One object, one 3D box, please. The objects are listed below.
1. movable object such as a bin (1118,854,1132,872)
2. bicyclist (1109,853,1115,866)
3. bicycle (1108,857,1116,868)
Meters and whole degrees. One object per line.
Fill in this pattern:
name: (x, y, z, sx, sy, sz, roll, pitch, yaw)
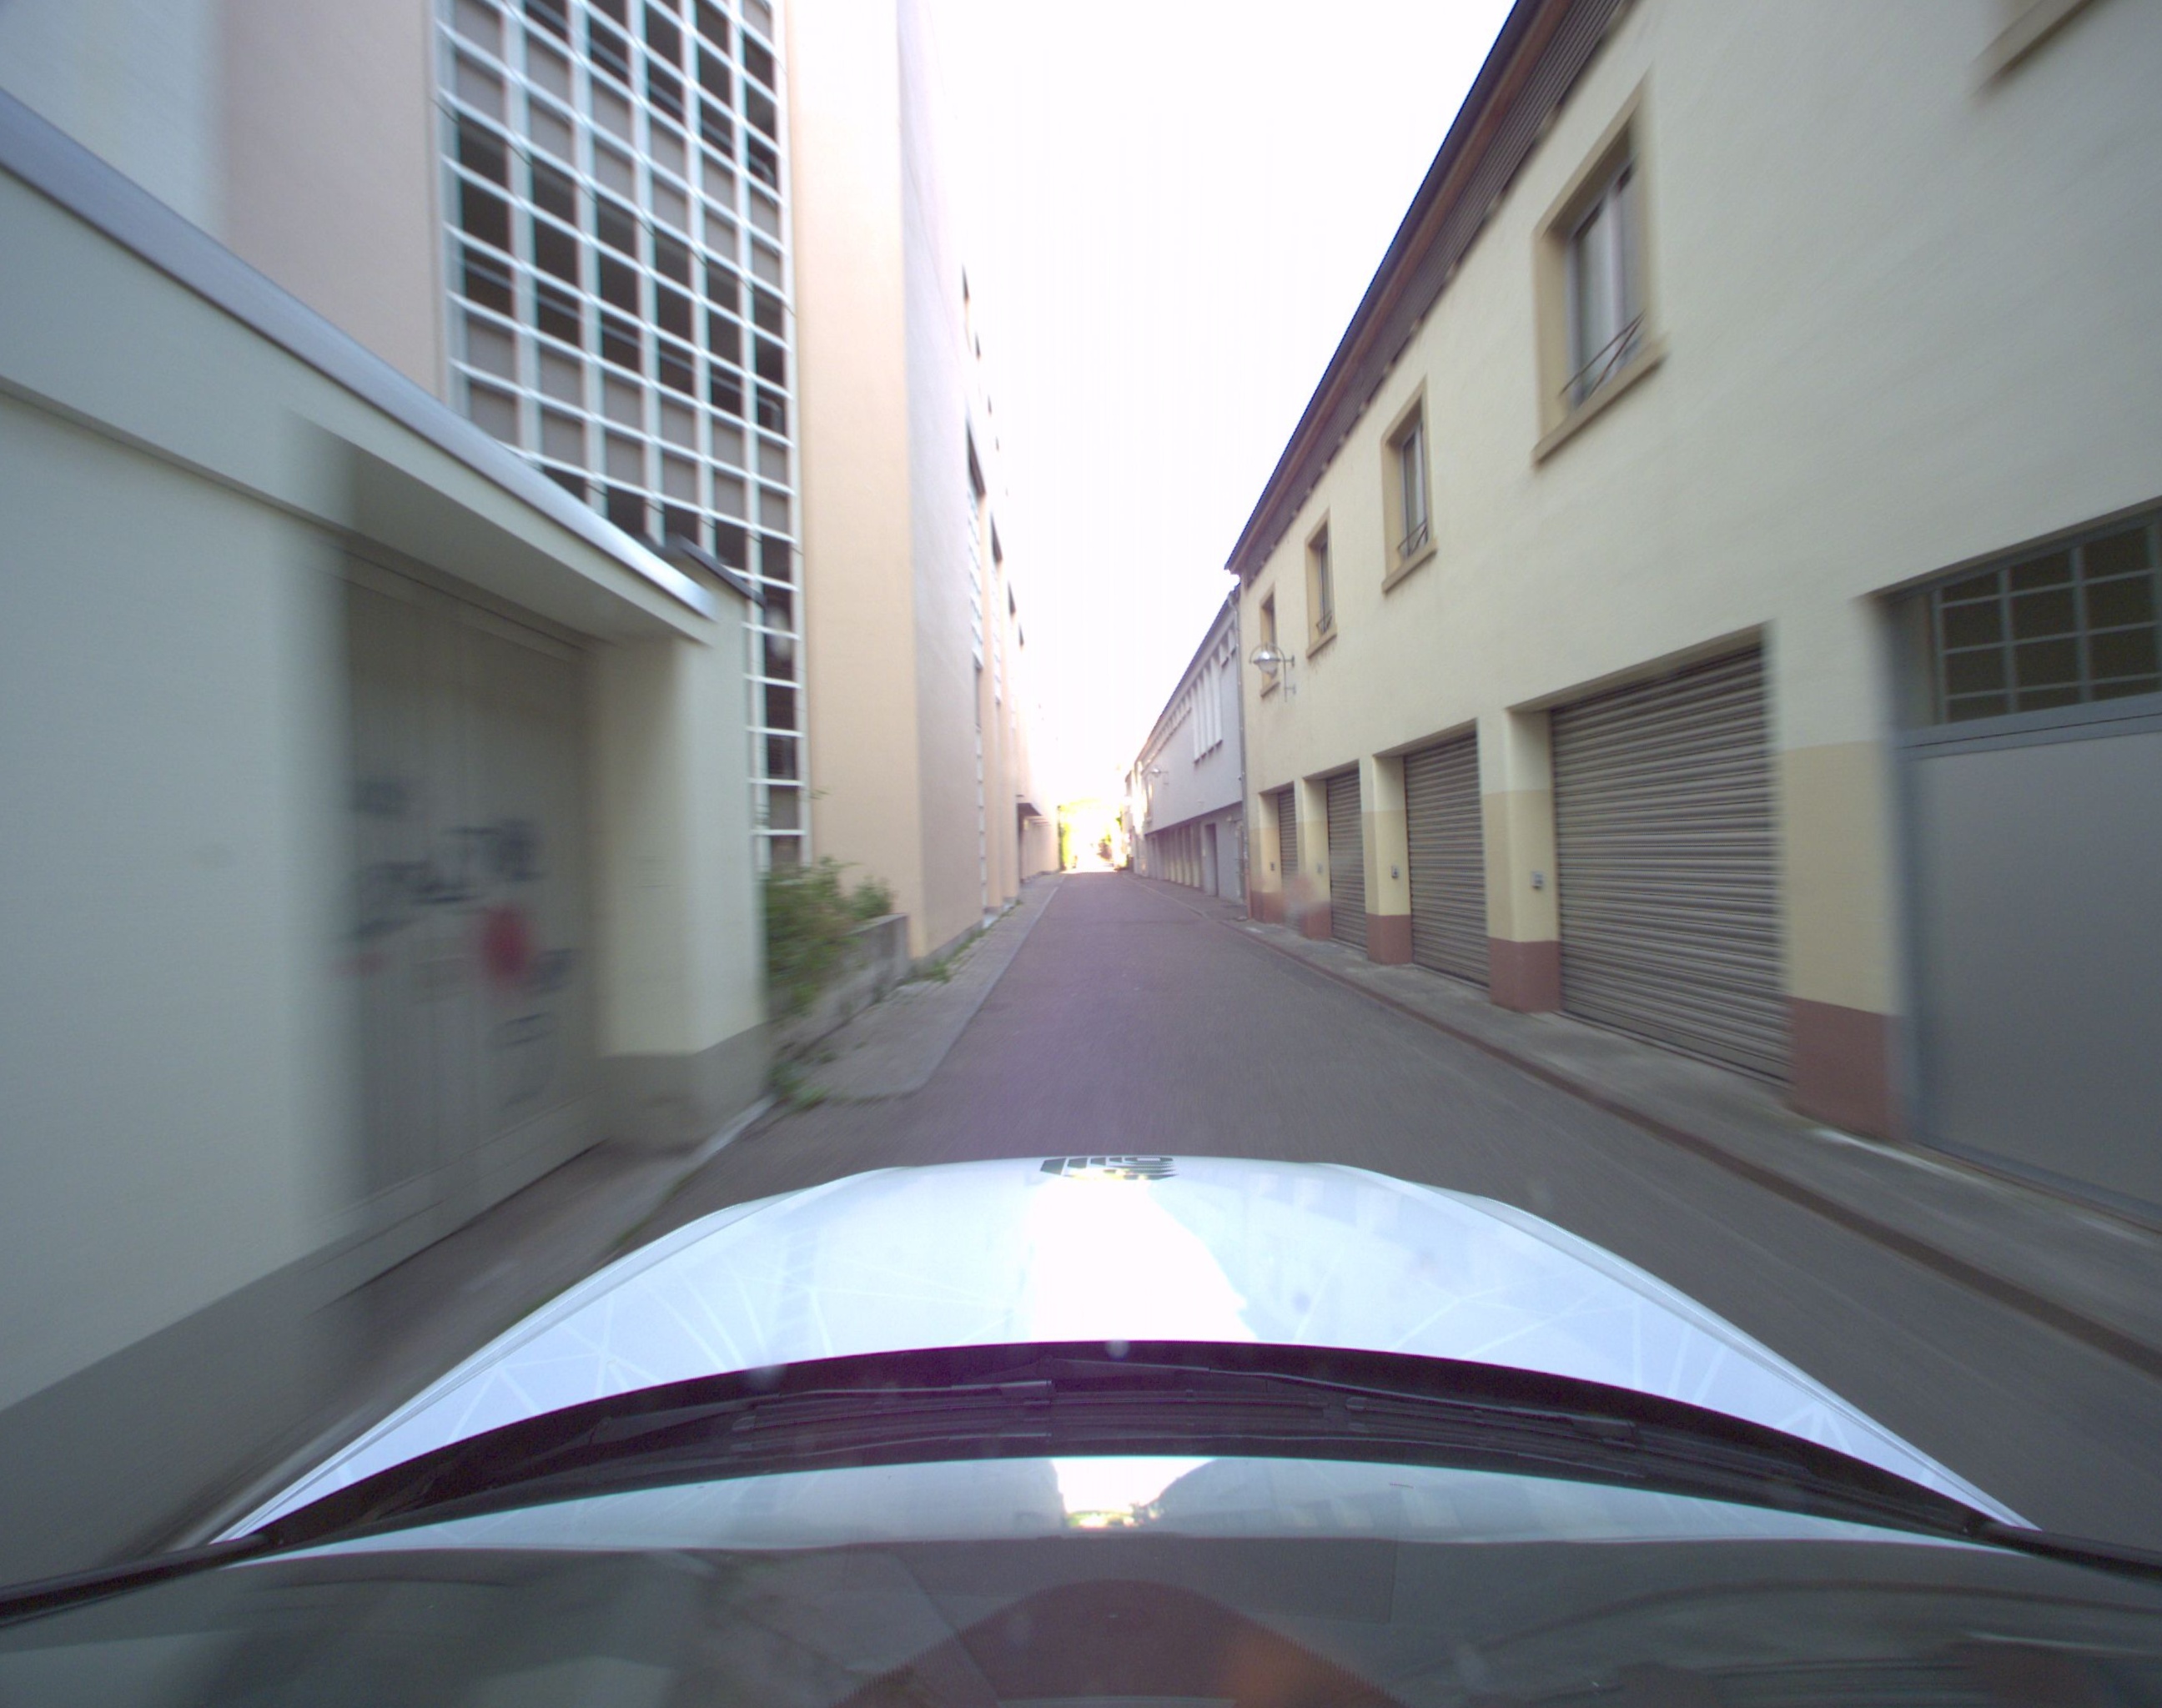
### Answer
movable object such as a bin: (3.691, 0.752, 68.163, 0.936, 1.366, 1.339, -4, 0, -6)
bicyclist: (3.730, 0.686, 98.137, 0.771, 1.566, 0.692, 0, 0, -3)
bicycle: (3.731, 1.050, 98.134, 0.771, 1.261, 2.215, 0, 0, -3)
